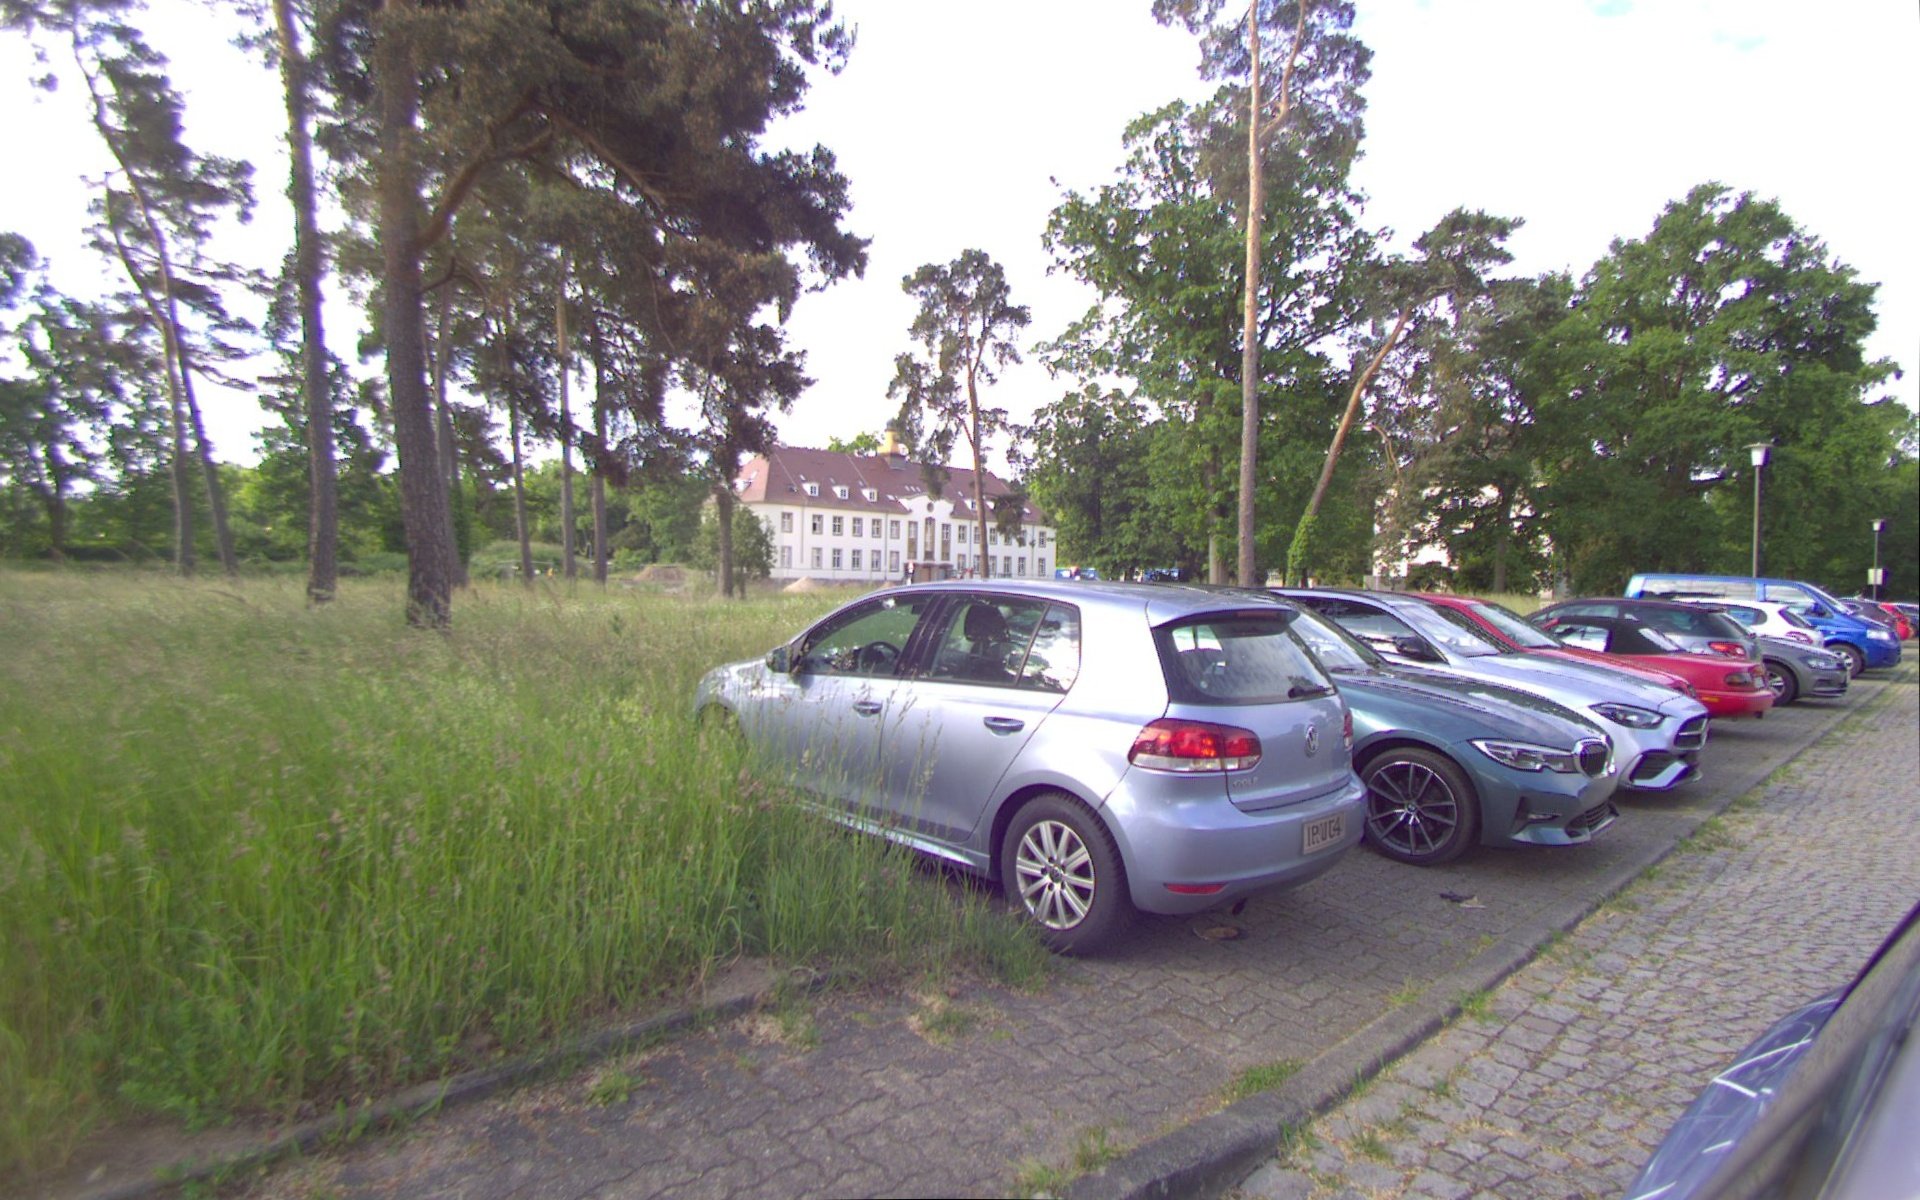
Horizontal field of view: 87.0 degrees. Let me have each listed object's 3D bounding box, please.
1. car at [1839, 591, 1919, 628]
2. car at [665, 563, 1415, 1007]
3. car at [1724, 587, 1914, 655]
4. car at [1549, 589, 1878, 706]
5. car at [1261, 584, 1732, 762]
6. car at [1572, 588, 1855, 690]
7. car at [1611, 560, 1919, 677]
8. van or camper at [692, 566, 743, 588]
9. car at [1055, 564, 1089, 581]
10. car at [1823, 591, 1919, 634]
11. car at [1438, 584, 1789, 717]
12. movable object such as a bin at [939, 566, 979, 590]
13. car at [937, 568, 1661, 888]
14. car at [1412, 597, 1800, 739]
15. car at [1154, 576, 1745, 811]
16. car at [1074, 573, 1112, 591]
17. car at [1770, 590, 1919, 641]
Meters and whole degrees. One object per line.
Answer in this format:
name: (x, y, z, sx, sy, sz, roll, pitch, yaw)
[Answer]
car: (41.430, 0.413, 44.573, 1.643, 1.548, 3.838, 0, 2, -38)
car: (0.132, 0.577, 5.375, 3.844, 1.489, 1.615, 2, 2, 45)
car: (23.222, 0.513, 27.464, 3.828, 1.621, 1.556, 3, 1, 44)
car: (11.421, 0.619, 15.539, 1.614, 1.483, 3.779, 0, 2, -41)
car: (5.505, 0.603, 10.809, 1.690, 1.441, 4.114, 0, 2, -42)
car: (13.208, 0.604, 17.918, 1.554, 1.517, 3.759, 0, 2, -41)
car: (17.083, 0.277, 21.590, 2.025, 2.047, 4.951, 0, 3, -42)
van or camper: (-25.367, -2.418, 105.814, 6.057, 2.250, 1.971, 2, 2, 41)
car: (13.940, -3.413, 125.523, 3.933, 2.038, 2.215, 0, 2, -44)
car: (38.109, 0.503, 41.536, 1.552, 1.638, 3.838, 0, 2, -38)
car: (8.959, 0.581, 14.110, 1.577, 1.522, 3.833, 0, 2, -43)
movable object such as a bin: (-0.151, -2.649, 124.108, 1.992, 2.802, 5.126, 2, 2, 41)
car: (2.048, 0.570, 7.132, 4.515, 1.501, 1.778, 3, 2, 45)
car: (7.473, 0.688, 11.940, 1.580, 1.303, 3.552, 2, 1, -42)
car: (4.020, 0.581, 8.893, 1.738, 1.446, 4.330, 0, 2, -44)
car: (14.030, -1.894, 106.700, 3.867, 1.704, 1.847, 0, 3, -41)
car: (30.339, 0.479, 34.750, 3.828, 1.544, 1.556, 3, 2, 44)
